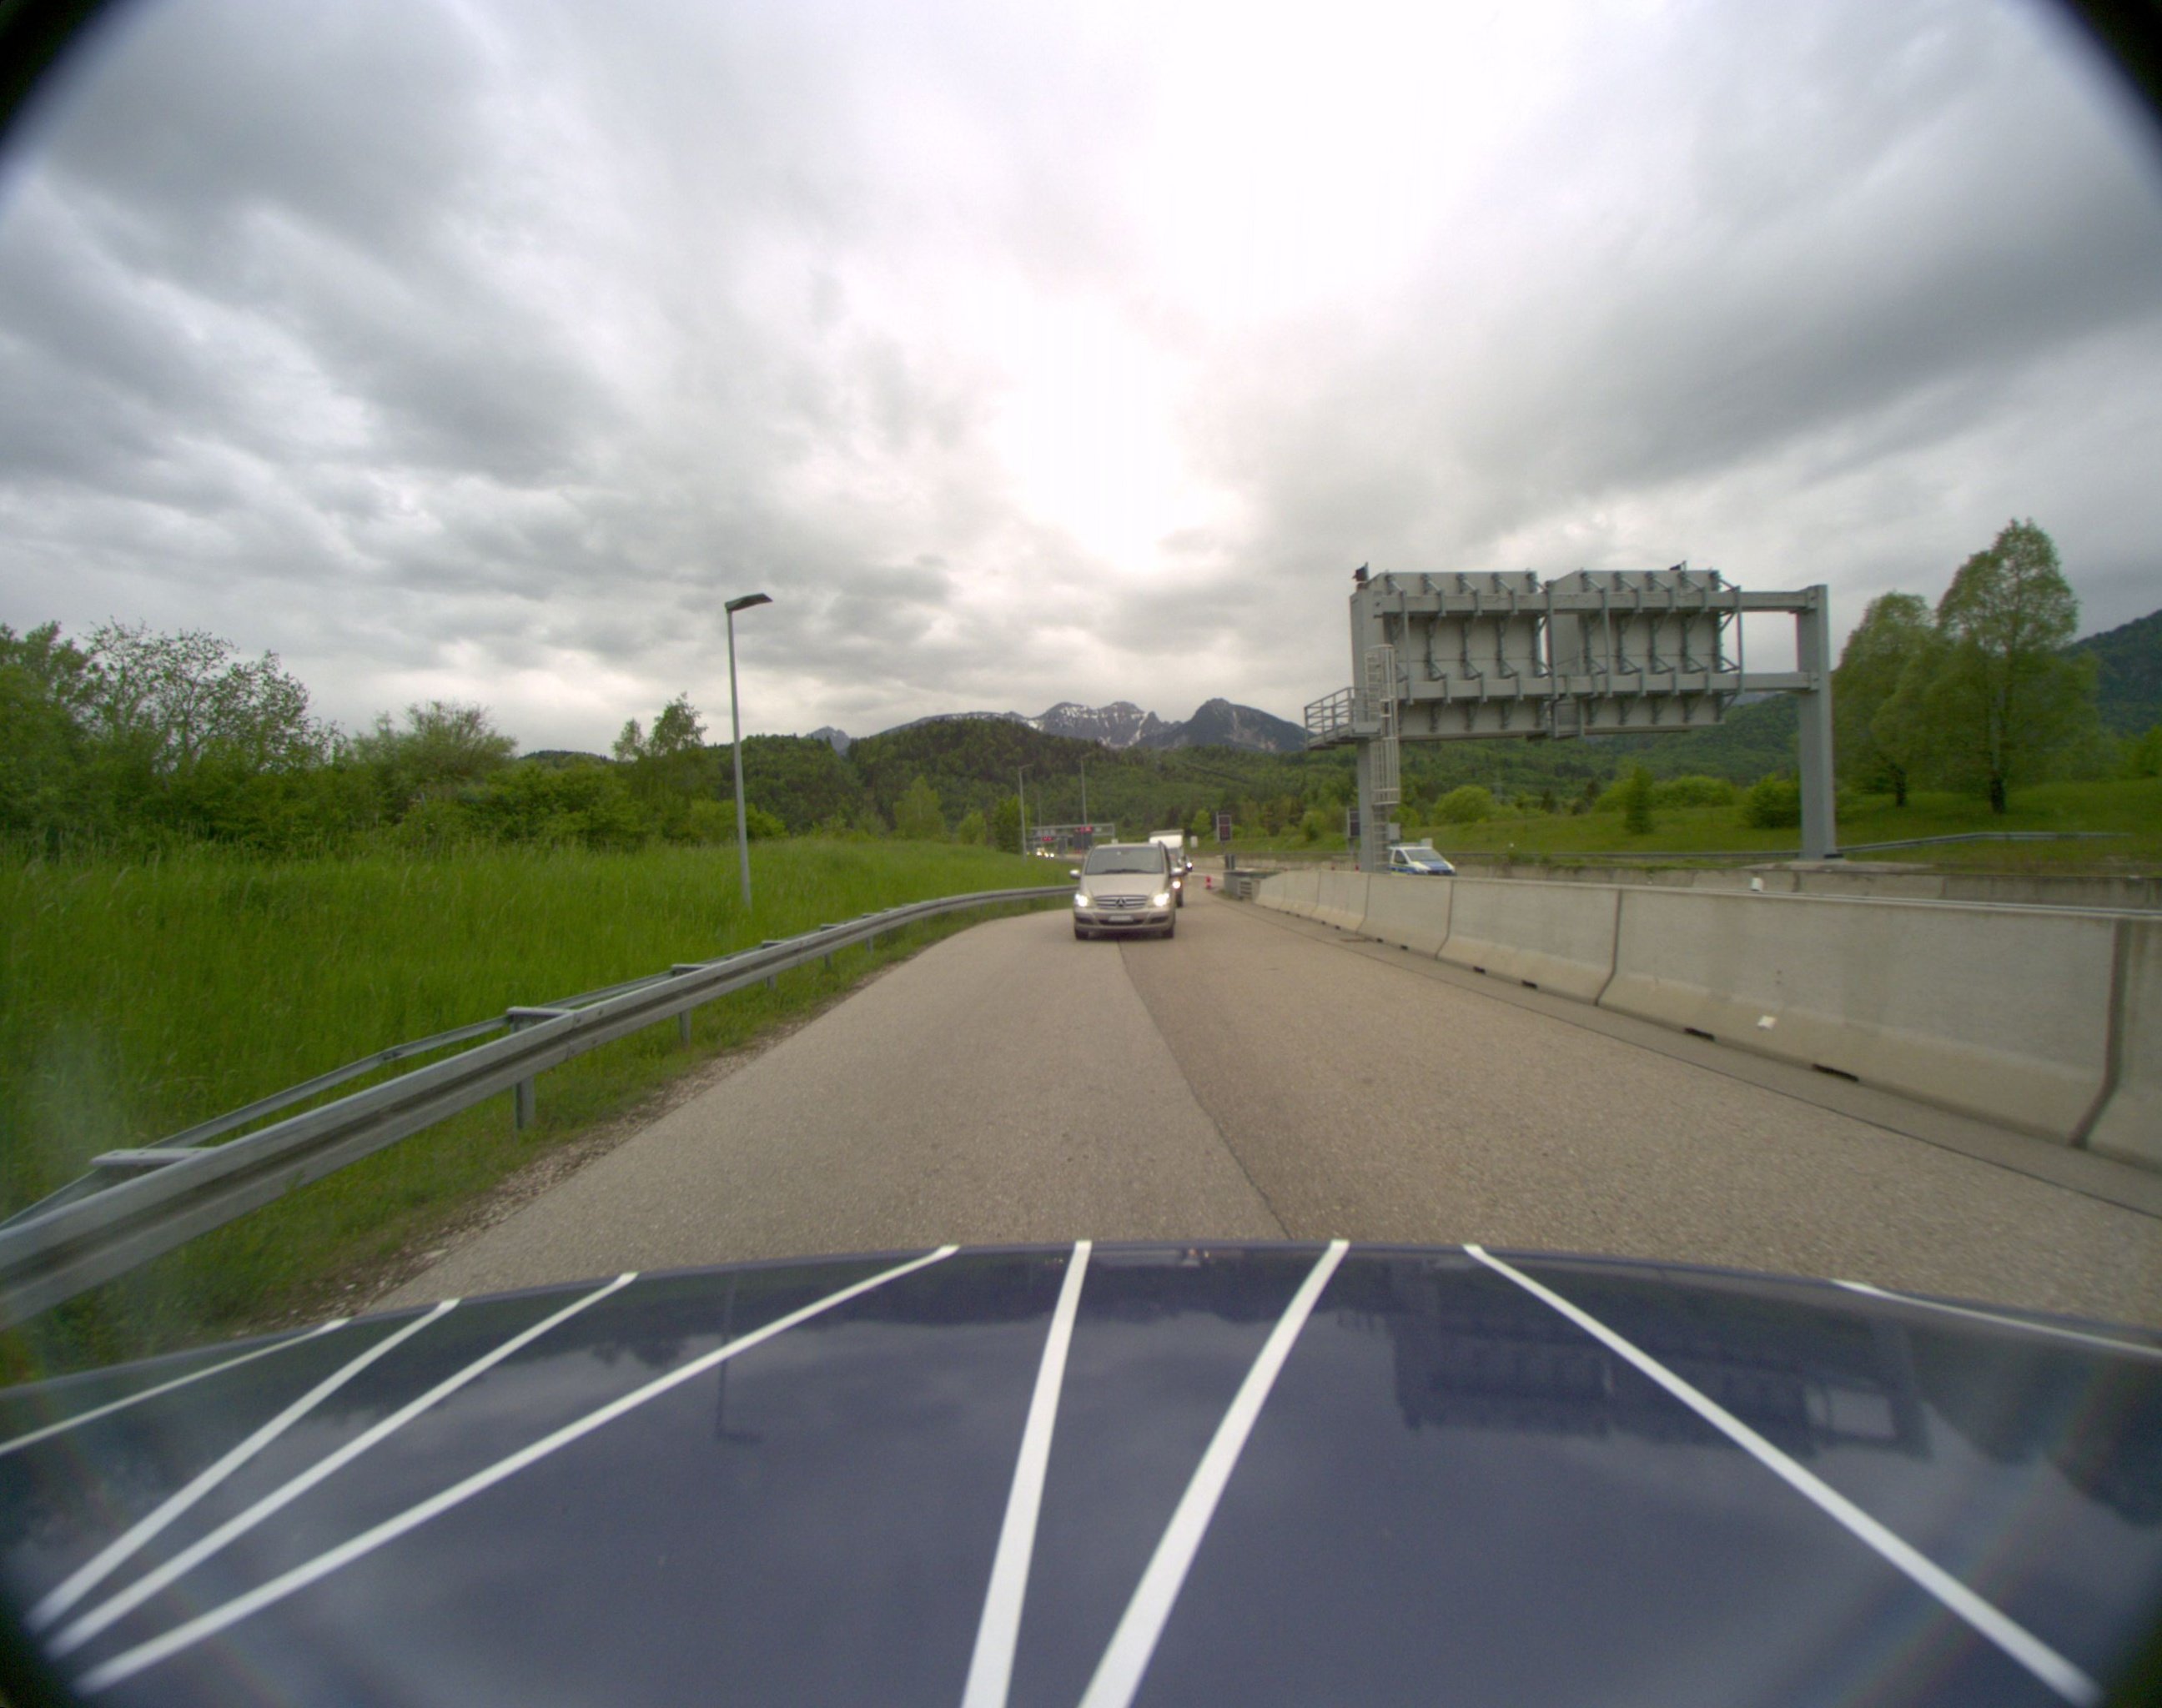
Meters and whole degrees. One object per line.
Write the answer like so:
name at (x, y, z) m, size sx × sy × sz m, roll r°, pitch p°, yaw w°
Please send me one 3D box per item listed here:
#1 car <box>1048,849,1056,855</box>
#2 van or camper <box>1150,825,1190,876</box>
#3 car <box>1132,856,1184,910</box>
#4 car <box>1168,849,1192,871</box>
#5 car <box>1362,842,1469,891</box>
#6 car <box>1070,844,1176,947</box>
car at (-7.665, -0.495, 202.421) m, size 1.738 × 1.646 × 3.997 m, roll -1°, pitch 0°, yaw -6°
van or camper at (6.311, -0.251, 53.695) m, size 2.580 × 3.372 × 7.359 m, roll -1°, pitch 0°, yaw 7°
car at (2.648, 0.901, 25.484) m, size 1.590 × 1.662 × 4.003 m, roll -1°, pitch 0°, yaw 8°
car at (8.337, 0.484, 64.246) m, size 1.741 × 1.754 × 4.001 m, roll -4°, pitch 0°, yaw 6°
car at (14.768, 0.488, 33.897) m, size 2.105 × 2.002 × 5.049 m, roll -1°, pitch 0°, yaw -6°
car at (1.082, 0.726, 16.333) m, size 1.861 × 1.833 × 5.620 m, roll -1°, pitch 0°, yaw 7°
